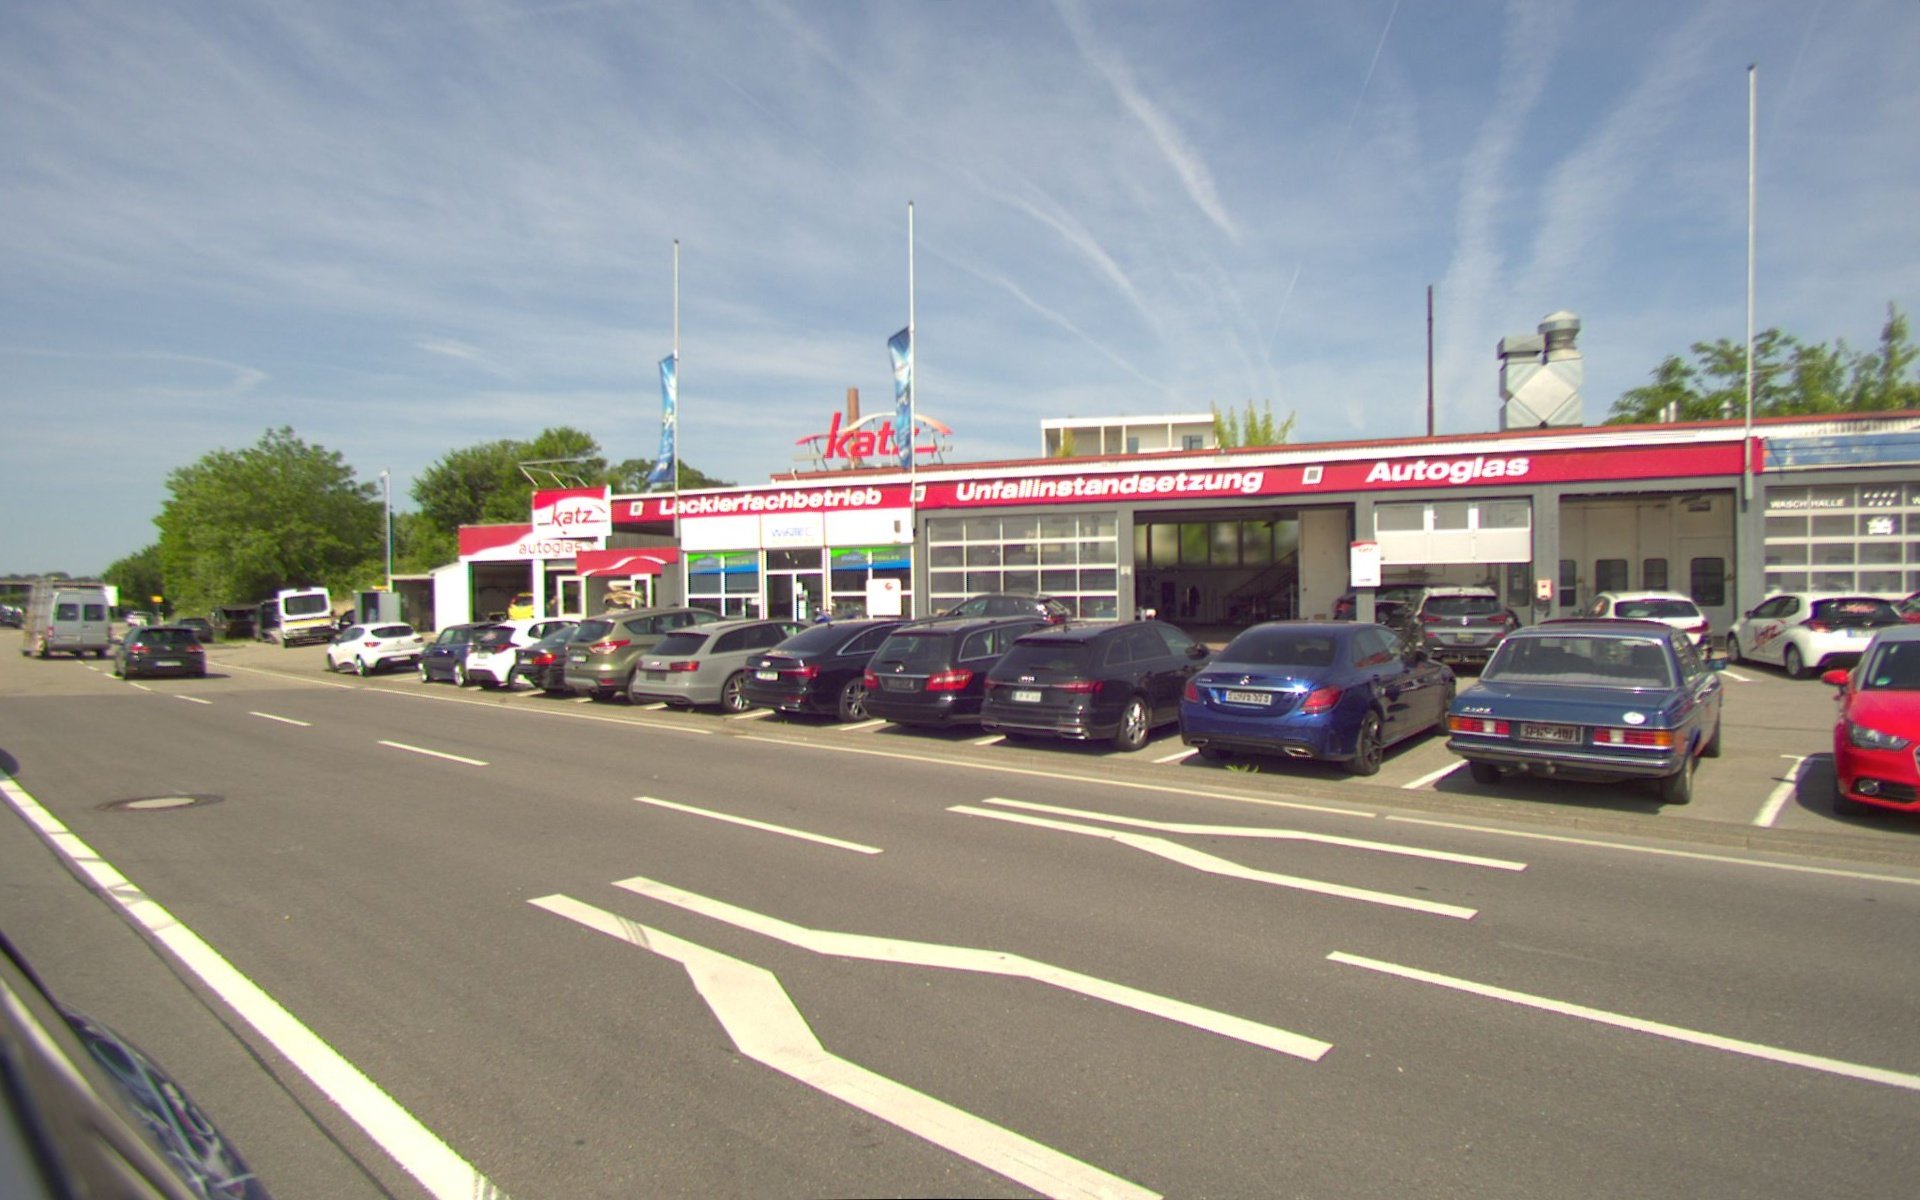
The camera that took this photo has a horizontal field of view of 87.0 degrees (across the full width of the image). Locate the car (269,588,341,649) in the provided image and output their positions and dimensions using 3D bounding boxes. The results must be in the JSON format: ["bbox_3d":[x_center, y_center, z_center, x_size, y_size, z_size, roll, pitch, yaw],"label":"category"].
[{"bbox_3d":[-30.020,0.829,46.570,2.399,2.563,6.060,-1,0,-29],"label":"car"}]

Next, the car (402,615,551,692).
[{"bbox_3d":[-11.906,1.235,24.806,4.002,1.567,1.972,-1,3,44],"label":"car"}]

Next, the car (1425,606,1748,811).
[{"bbox_3d":[6.054,0.805,9.543,1.873,1.479,4.202,-1,-1,42],"label":"car"}]

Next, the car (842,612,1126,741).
[{"bbox_3d":[0.438,0.940,14.162,1.949,1.510,3.826,-1,-1,43],"label":"car"}]

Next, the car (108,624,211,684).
[{"bbox_3d":[-21.947,1.416,27.708,1.832,1.471,4.003,0,-1,-44],"label":"car"}]

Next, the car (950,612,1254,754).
[{"bbox_3d":[1.910,0.899,12.738,1.945,1.463,3.945,-1,-1,41],"label":"car"}]

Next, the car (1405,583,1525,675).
[{"bbox_3d":[9.920,0.527,20.141,1.864,1.631,3.969,-1,0,23],"label":"car"}]

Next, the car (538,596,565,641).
[{"bbox_3d":[-17.244,0.779,42.756,0.868,1.849,0.847,-1,-1,-36],"label":"car"}]

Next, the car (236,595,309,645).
[{"bbox_3d":[-37.582,1.103,55.268,2.405,2.563,5.343,-1,0,-44],"label":"car"}]

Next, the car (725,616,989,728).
[{"bbox_3d":[-1.499,1.016,15.856,1.756,1.493,3.943,-1,-1,43],"label":"car"}]

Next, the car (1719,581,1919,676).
[{"bbox_3d":[15.689,0.467,18.380,1.869,1.531,3.920,-1,0,18],"label":"car"}]

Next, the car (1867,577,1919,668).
[{"bbox_3d":[18.038,0.386,17.590,1.902,1.630,3.976,-1,0,18],"label":"car"}]

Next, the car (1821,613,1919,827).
[{"bbox_3d":[8.192,0.835,8.102,1.828,1.442,3.896,-1,-1,42],"label":"car"}]

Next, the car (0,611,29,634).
[{"bbox_3d":[-76.045,1.801,80.817,2.023,1.837,4.517,2,-2,-38],"label":"car"}]

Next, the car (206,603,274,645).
[{"bbox_3d":[-42.047,1.395,59.046,2.405,2.281,5.343,-1,0,-44],"label":"car"}]

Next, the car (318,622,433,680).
[{"bbox_3d":[-16.946,1.413,29.260,4.000,1.425,1.742,-1,2,43],"label":"car"}]

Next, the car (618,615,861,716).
[{"bbox_3d":[-3.697,1.039,17.536,1.737,1.504,3.925,-1,-1,38],"label":"car"}]

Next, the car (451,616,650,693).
[{"bbox_3d":[-9.235,1.165,23.037,1.940,1.562,3.750,-1,-1,40],"label":"car"}]

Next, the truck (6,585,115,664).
[{"bbox_3d":[-35.037,0.922,39.354,6.039,2.858,2.410,-1,-1,41],"label":"truck"}]

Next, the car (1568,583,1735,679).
[{"bbox_3d":[12.995,0.530,19.287,1.977,1.619,3.966,-1,0,25],"label":"car"}]

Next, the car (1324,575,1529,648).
[{"bbox_3d":[11.523,0.296,25.137,4.447,1.666,1.858,-1,0,28],"label":"car"}]

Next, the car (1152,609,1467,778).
[{"bbox_3d":[3.934,0.851,11.007,1.905,1.465,3.945,-1,-1,41],"label":"car"}]

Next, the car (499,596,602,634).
[{"bbox_3d":[-19.003,0.657,47.168,1.863,1.666,4.502,-1,0,23],"label":"car"}]

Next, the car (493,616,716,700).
[{"bbox_3d":[-7.308,1.126,21.082,1.998,1.537,3.947,-1,-1,39],"label":"car"}]

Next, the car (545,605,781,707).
[{"bbox_3d":[-5.571,0.974,19.315,1.871,1.740,3.944,-1,-1,43],"label":"car"}]

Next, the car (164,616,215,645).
[{"bbox_3d":[-41.395,1.636,54.358,1.801,1.538,4.464,2,-2,-42],"label":"car"}]

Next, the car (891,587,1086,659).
[{"bbox_3d":[0.706,0.569,25.364,4.508,1.666,1.860,-1,0,24],"label":"car"}]
